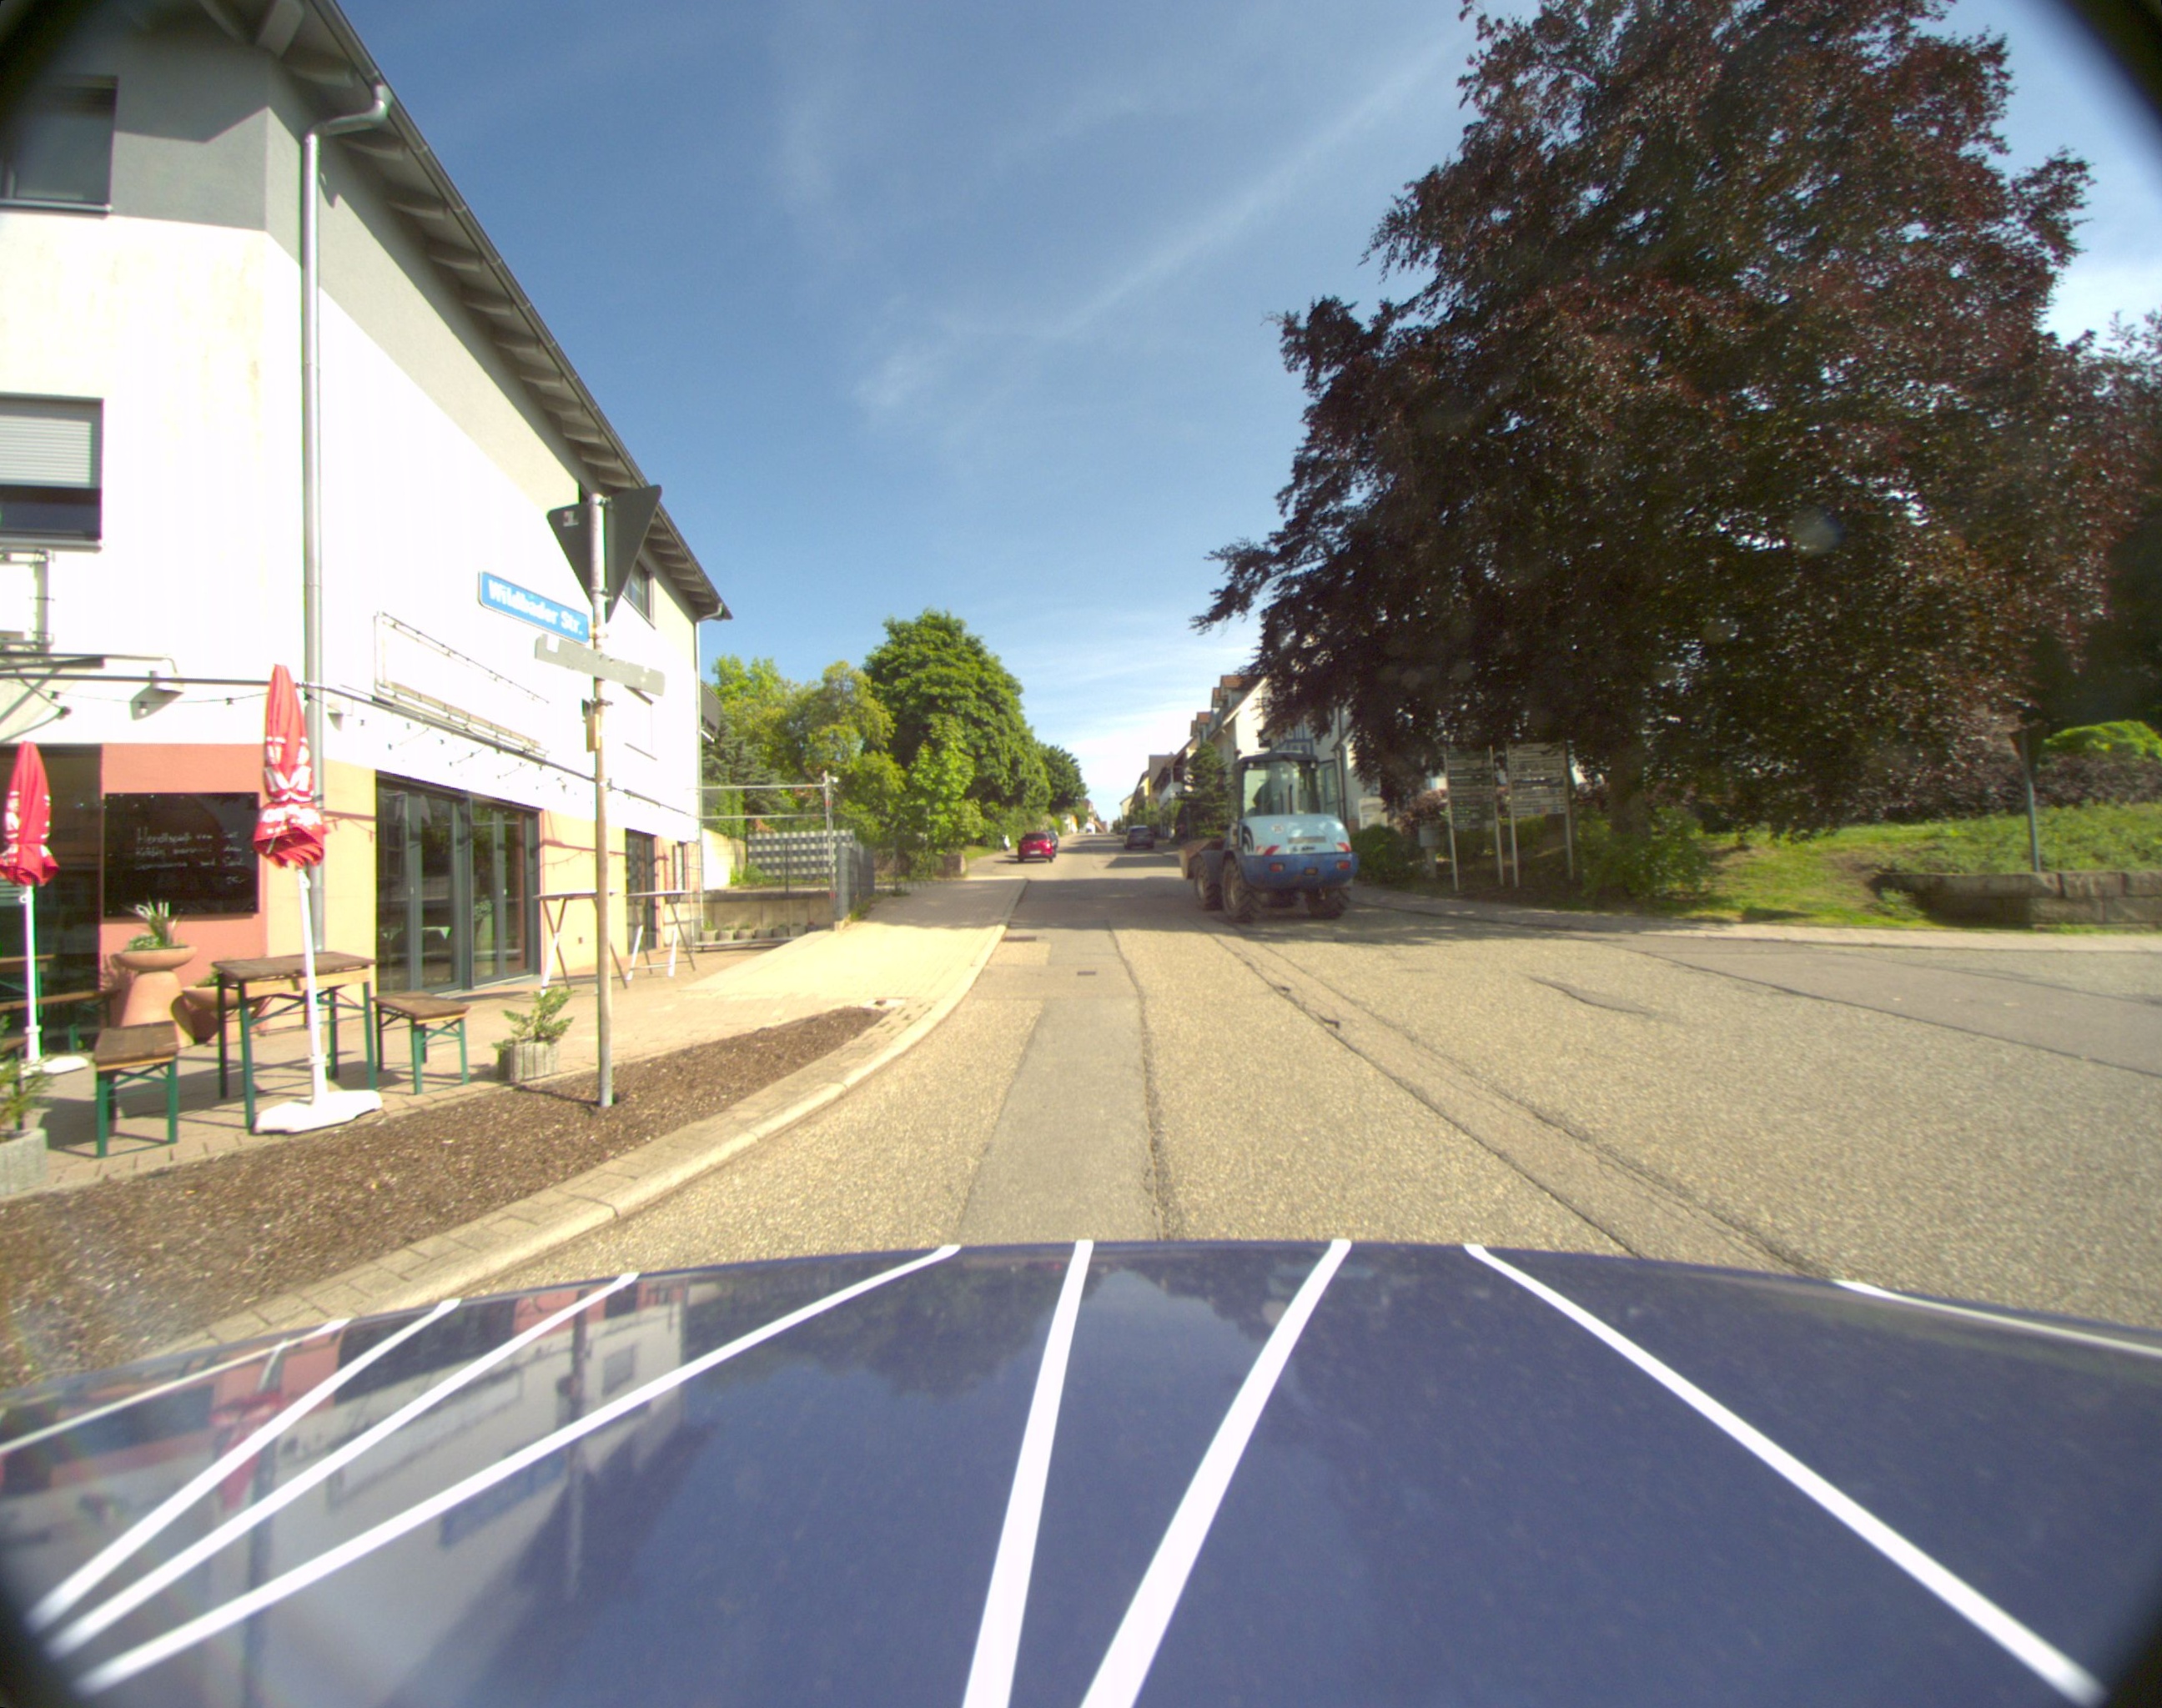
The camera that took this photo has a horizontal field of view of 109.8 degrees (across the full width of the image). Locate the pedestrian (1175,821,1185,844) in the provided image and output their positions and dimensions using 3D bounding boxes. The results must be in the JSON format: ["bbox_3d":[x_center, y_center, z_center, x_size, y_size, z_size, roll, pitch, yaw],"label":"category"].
[{"bbox_3d":[6.993,-1.522,53.436,0.667,1.567,0.780,-1,3,8],"label":"pedestrian"}]

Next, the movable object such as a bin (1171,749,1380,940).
[{"bbox_3d":[3.156,-0.231,13.615,1.999,2.754,5.100,-1,2,-5],"label":"movable object such as a bin"}]

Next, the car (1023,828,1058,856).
[{"bbox_3d":[-2.286,-0.710,43.401,1.775,1.462,3.808,-1,2,0],"label":"car"}]

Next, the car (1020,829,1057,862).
[{"bbox_3d":[-2.048,-0.441,37.753,1.623,1.490,3.808,-1,2,0],"label":"car"}]

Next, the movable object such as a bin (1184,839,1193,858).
[{"bbox_3d":[4.942,-0.248,34.995,0.351,0.859,0.395,-1,2,0],"label":"movable object such as a bin"}]

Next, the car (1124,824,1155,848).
[{"bbox_3d":[4.126,-1.325,54.140,1.808,1.592,3.808,-1,2,0],"label":"car"}]

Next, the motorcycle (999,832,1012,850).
[{"bbox_3d":[-5.218,-0.914,52.630,0.785,1.175,2.186,-1,2,-2],"label":"motorcycle"}]
